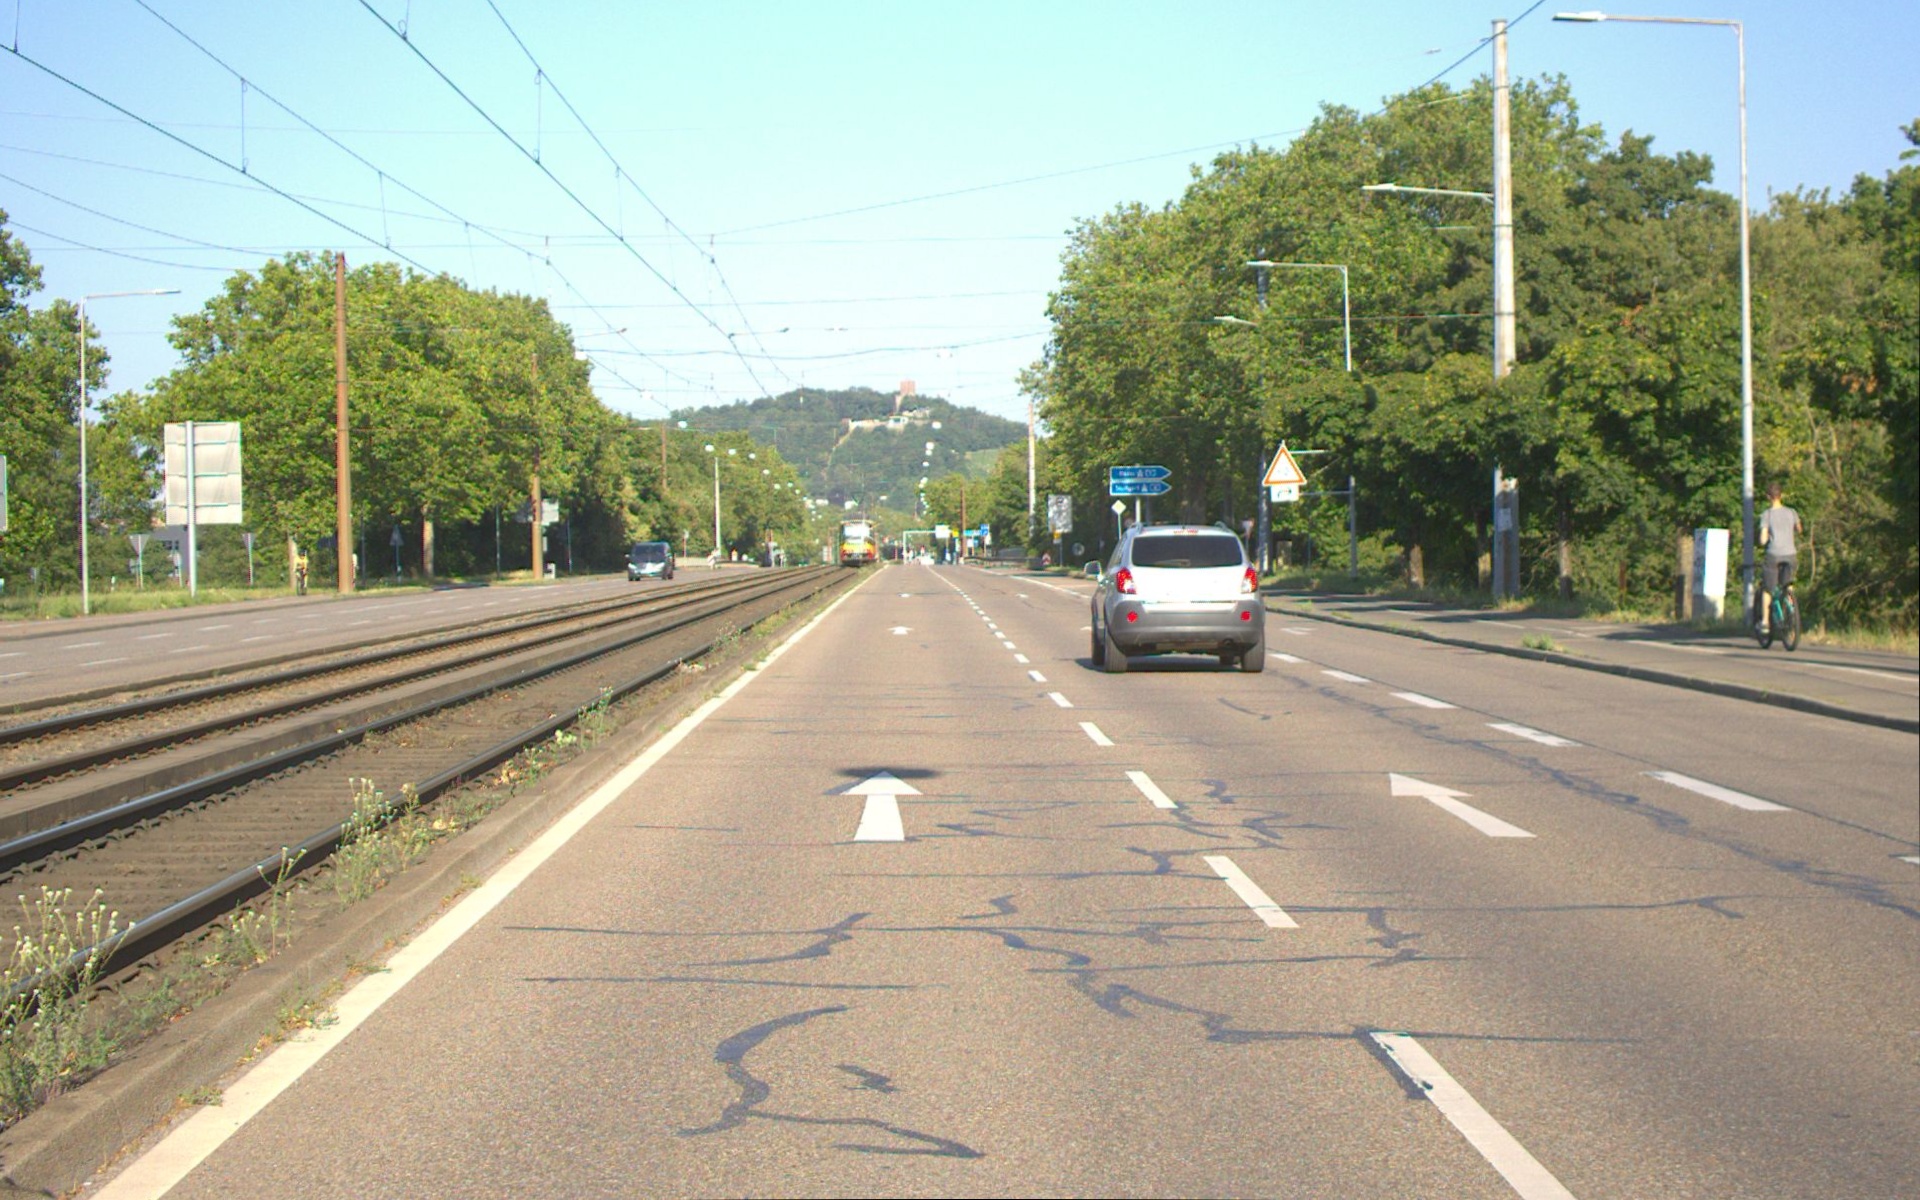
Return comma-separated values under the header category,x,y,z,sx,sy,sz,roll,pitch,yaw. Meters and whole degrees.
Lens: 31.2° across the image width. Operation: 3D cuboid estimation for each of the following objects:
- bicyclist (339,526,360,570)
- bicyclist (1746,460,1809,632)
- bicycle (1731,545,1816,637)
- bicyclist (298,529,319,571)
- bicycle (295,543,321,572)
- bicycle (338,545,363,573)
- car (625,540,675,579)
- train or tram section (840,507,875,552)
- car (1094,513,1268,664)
category,x,y,z,sx,sy,sz,roll,pitch,yaw
bicyclist,-22.893,-1.947,128.886,0.590,1.605,0.967,-1,1,-1
bicyclist,9.706,-0.637,40.849,0.527,2.010,0.729,1,0,0
bicycle,9.698,-0.113,41.034,0.527,1.057,1.971,1,1,0
bicyclist,-23.914,-1.826,126.126,0.590,1.523,0.906,-1,1,-1
bicycle,-23.916,-1.556,126.179,0.590,1.018,2.186,-1,1,-1
bicycle,-22.868,-1.530,128.999,0.590,1.018,2.186,-1,1,-1
car,-15.455,-2.013,171.524,1.993,1.916,4.860,-1,1,1
train or tram section,-7.571,-5.208,254.851,2.310,3.206,9.476,1,1,-1
car,2.560,-0.156,40.615,1.888,1.688,4.256,0,1,1
